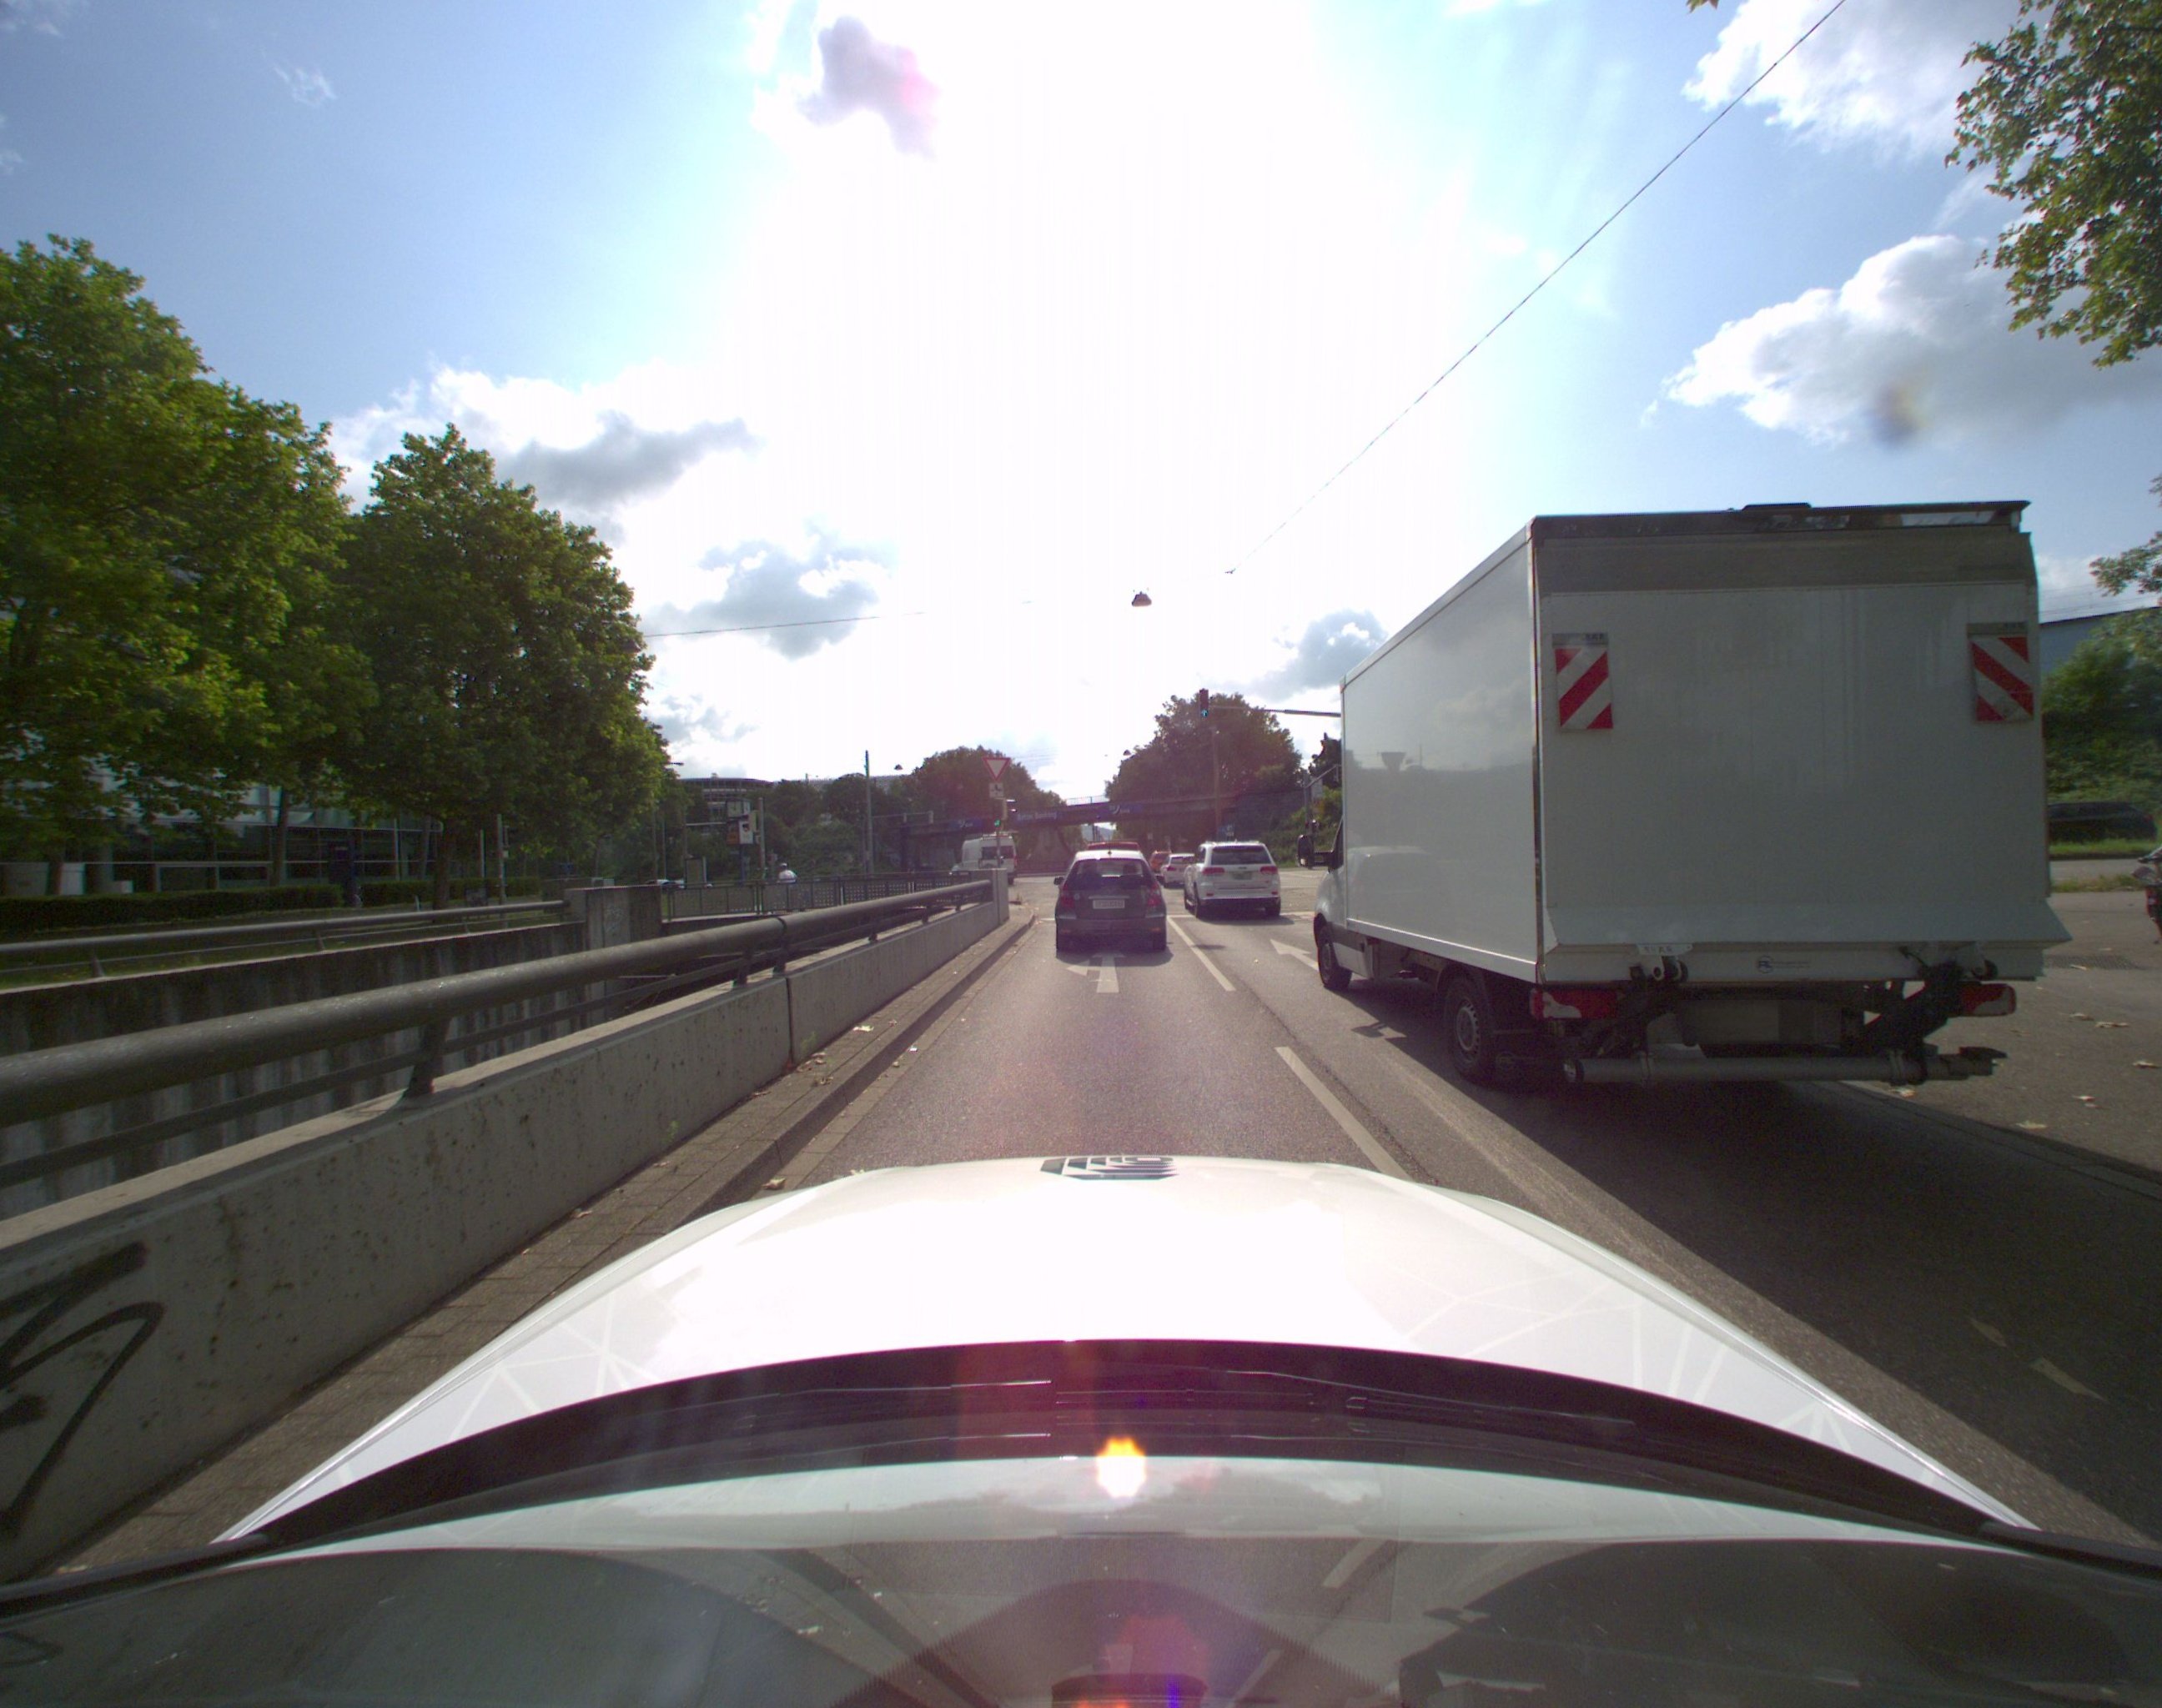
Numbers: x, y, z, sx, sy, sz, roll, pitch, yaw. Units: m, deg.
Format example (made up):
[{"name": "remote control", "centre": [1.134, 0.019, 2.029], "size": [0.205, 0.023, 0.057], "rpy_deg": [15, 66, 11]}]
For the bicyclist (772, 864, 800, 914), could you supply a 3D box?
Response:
[{"name": "bicyclist", "centre": [-8.642, 1.021, 23.863], "size": [0.507, 1.404, 0.627], "rpy_deg": [-3, -1, 6]}]

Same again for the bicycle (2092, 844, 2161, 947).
[{"name": "bicycle", "centre": [12.080, 0.433, 9.124], "size": [1.640, 1.042, 0.523], "rpy_deg": [-3, -3, -26]}]

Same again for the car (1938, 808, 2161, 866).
[{"name": "car", "centre": [32.910, -0.530, 27.833], "size": [4.741, 1.643, 1.832], "rpy_deg": [-4, -1, 40]}]

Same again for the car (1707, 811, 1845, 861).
[{"name": "car", "centre": [27.504, -0.682, 32.436], "size": [3.972, 1.749, 1.989], "rpy_deg": [-3, -1, 36]}]

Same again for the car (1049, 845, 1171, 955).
[{"name": "car", "centre": [0.512, 0.688, 14.060], "size": [1.785, 1.608, 3.801], "rpy_deg": [-1, 0, 2]}]

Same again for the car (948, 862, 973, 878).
[{"name": "car", "centre": [-12.148, 1.583, 82.494], "size": [1.696, 1.476, 4.001], "rpy_deg": [-5, -1, 1]}]

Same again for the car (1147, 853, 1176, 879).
[{"name": "car", "centre": [4.999, 0.784, 50.763], "size": [1.538, 1.522, 3.618], "rpy_deg": [-1, -1, 2]}]

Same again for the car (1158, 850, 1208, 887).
[{"name": "car", "centre": [4.402, 0.646, 35.487], "size": [1.845, 1.522, 3.618], "rpy_deg": [-1, -1, 2]}]

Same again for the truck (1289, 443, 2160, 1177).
[{"name": "truck", "centre": [3.515, -0.145, 6.546], "size": [2.436, 3.121, 6.033], "rpy_deg": [-1, -1, 4]}]

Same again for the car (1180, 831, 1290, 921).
[{"name": "car", "centre": [3.615, 0.457, 19.915], "size": [1.987, 1.901, 4.512], "rpy_deg": [-1, 0, 2]}]

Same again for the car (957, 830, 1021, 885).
[{"name": "car", "centre": [-4.977, 0.241, 43.317], "size": [2.206, 2.726, 4.895], "rpy_deg": [-1, -2, -21]}]

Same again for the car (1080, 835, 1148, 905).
[{"name": "car", "centre": [1.073, 0.484, 26.302], "size": [1.948, 2.017, 4.679], "rpy_deg": [-1, 0, 2]}]

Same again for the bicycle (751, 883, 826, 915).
[{"name": "bicycle", "centre": [-8.552, 1.310, 23.849], "size": [1.962, 0.826, 0.613], "rpy_deg": [-2, -1, 5]}]
